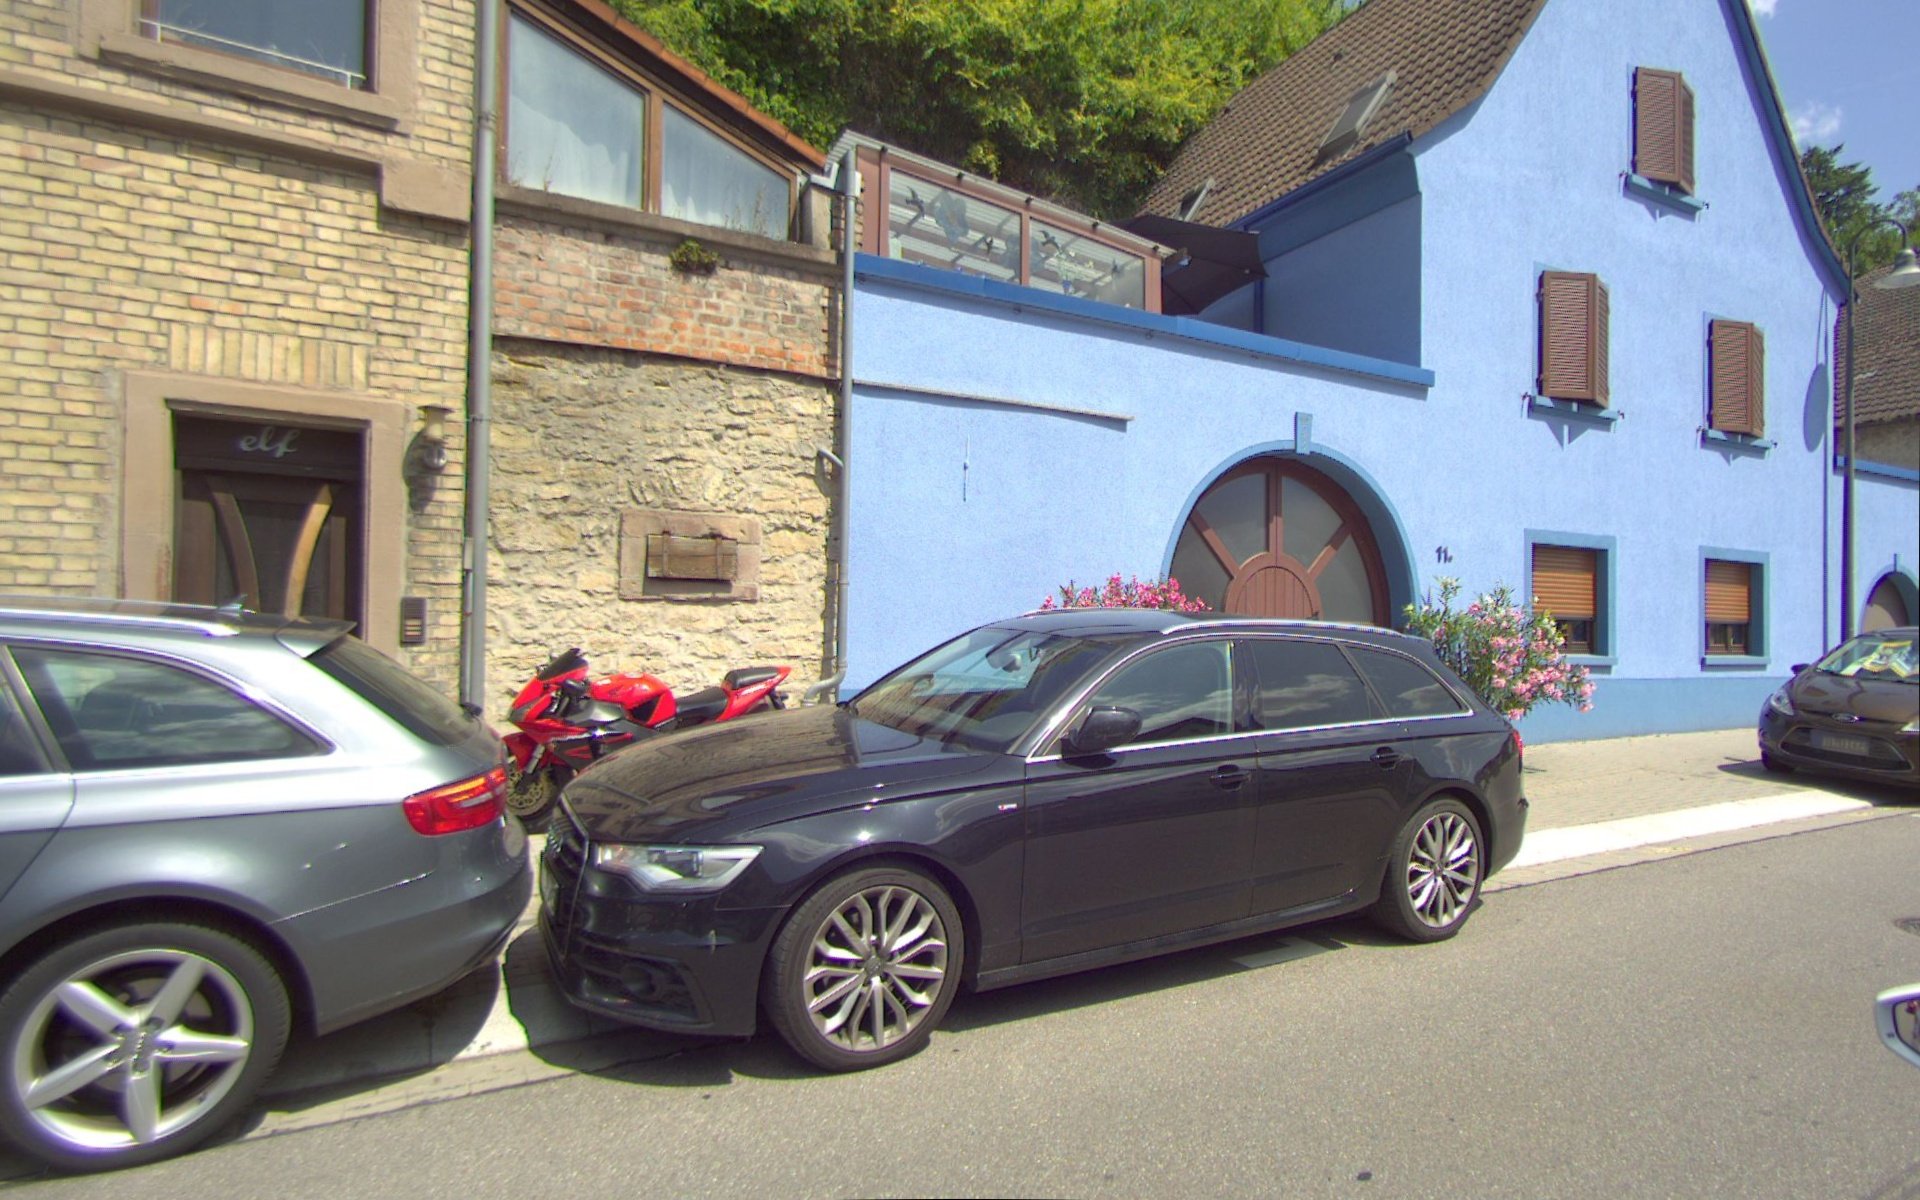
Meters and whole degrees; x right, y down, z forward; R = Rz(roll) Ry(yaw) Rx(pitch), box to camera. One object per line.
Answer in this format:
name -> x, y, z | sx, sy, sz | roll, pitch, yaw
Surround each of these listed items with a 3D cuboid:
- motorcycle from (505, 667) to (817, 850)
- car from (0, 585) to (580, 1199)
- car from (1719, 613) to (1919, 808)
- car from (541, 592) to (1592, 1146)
motorcycle -> -1.876, 0.958, 6.441 | 1.837, 1.014, 0.415 | 2, 3, -31
car -> -3.592, 0.680, 2.756 | 4.493, 1.485, 1.947 | 3, -2, -30
car -> 9.279, 0.949, 9.714 | 3.810, 1.550, 1.709 | 1, 1, -30
car -> 0.620, 0.765, 4.685 | 4.610, 1.484, 1.877 | 1, 2, -28
